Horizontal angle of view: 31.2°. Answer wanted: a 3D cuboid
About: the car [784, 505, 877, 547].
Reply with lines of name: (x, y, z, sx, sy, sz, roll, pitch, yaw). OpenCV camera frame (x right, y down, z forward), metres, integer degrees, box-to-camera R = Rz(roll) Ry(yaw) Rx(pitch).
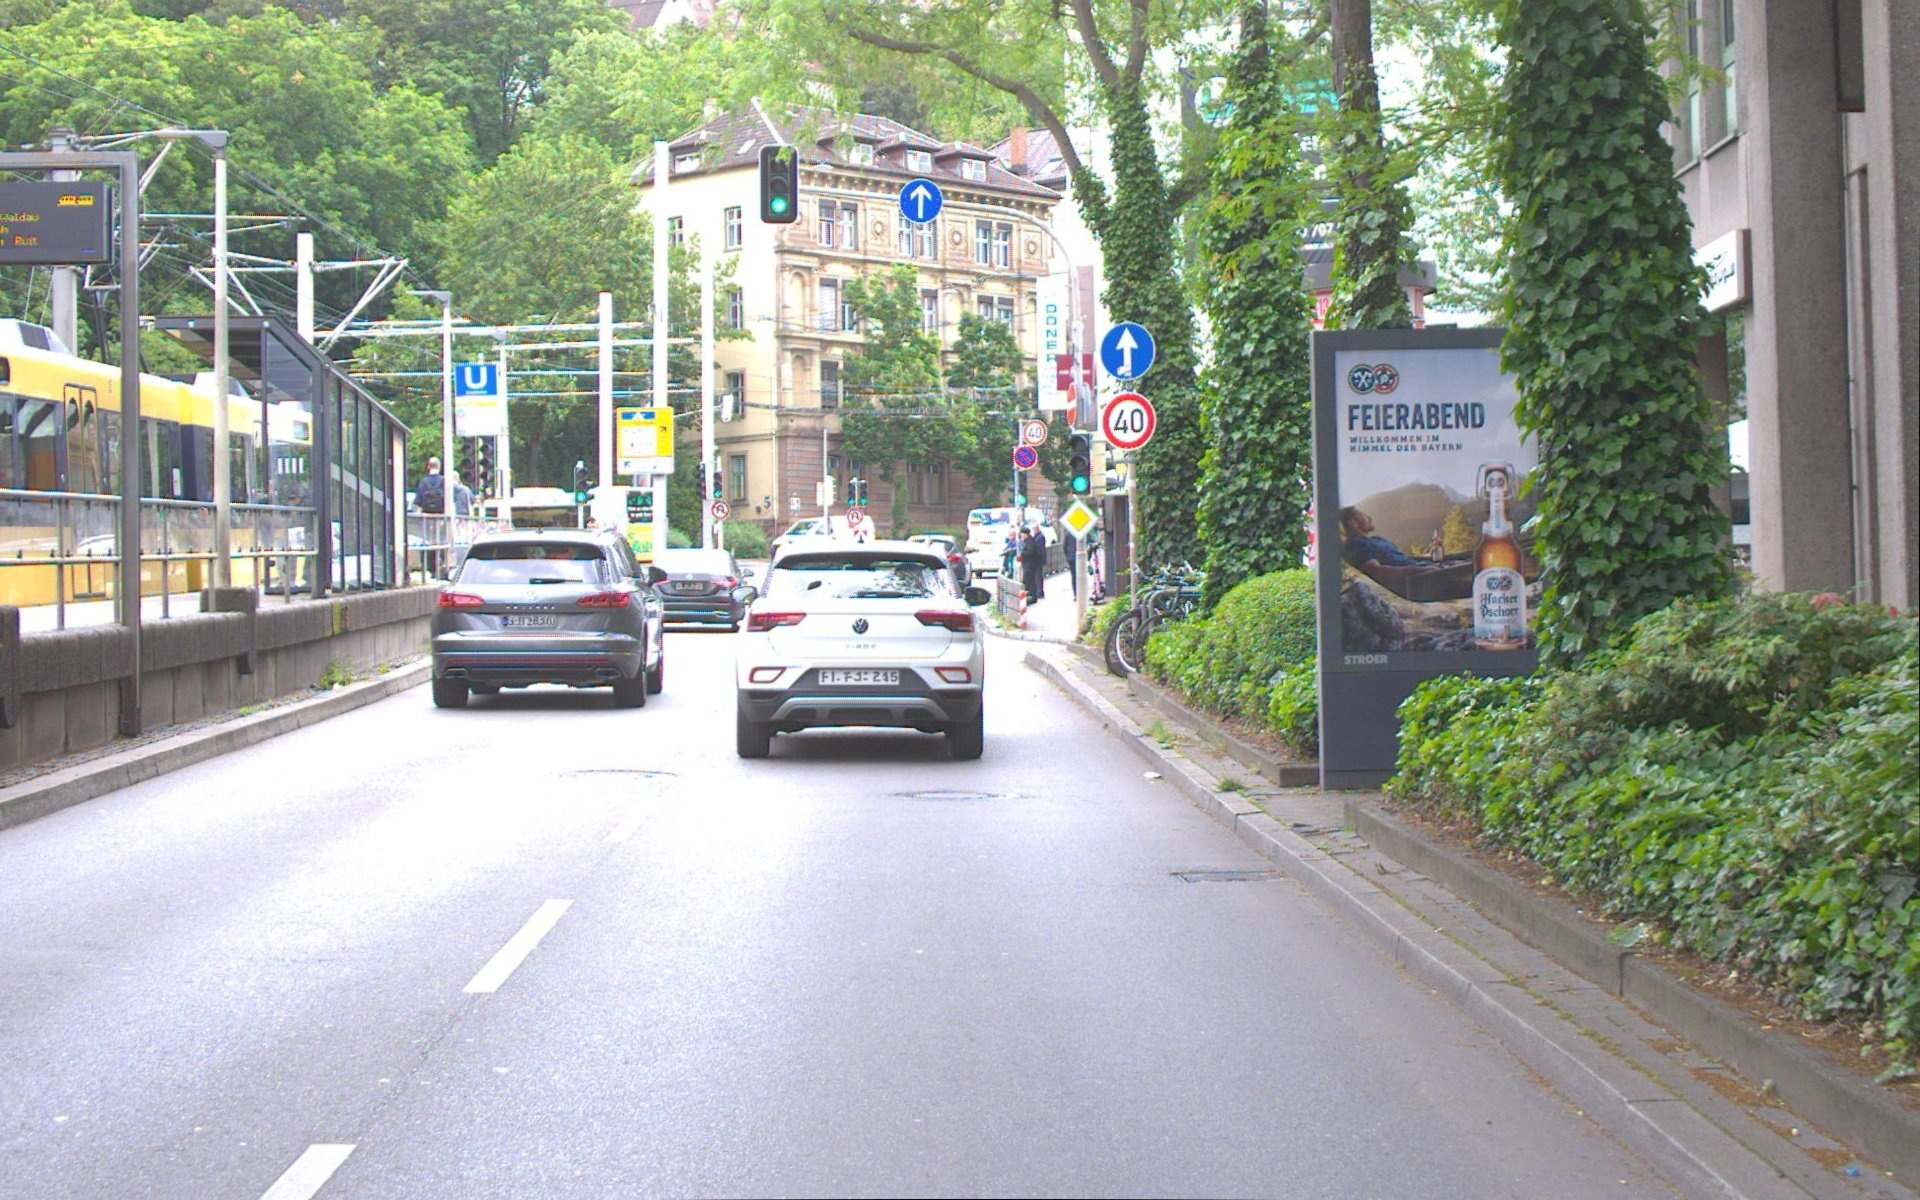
car: (-5.388, -3.076, 143.704, 1.915, 1.683, 3.992, 2, 1, 33)

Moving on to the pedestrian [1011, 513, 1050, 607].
pedestrian: (1.521, -0.851, 74.289, 0.762, 2.007, 0.838, 0, -1, 5)

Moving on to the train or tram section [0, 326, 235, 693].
train or tram section: (-10.019, -0.931, 37.718, 2.813, 3.654, 6.751, 1, 0, -1)

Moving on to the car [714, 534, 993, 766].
car: (-0.717, 0.329, 25.839, 1.837, 1.578, 4.157, 1, 0, 2)

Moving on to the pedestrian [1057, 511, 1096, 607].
pedestrian: (2.453, -0.865, 72.523, 0.762, 2.007, 0.838, 0, -1, 5)

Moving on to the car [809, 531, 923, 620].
car: (-1.904, -0.465, 68.593, 1.884, 1.678, 4.162, 1, -1, -7)

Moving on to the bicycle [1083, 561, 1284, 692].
bicycle: (2.206, 0.257, 33.833, 1.882, 1.262, 0.764, 0, -1, 11)

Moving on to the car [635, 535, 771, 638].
car: (-4.385, -0.264, 59.262, 1.912, 1.683, 4.000, 1, 1, 2)

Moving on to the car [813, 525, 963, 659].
car: (-0.940, -0.075, 45.701, 1.885, 1.678, 4.161, 1, -1, -1)

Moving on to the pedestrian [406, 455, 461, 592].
pedestrian: (-7.851, -1.136, 51.269, 0.762, 2.007, 0.838, 1, -1, -7)

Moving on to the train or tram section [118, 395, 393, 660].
train or tram section: (-10.362, -1.024, 51.234, 2.813, 3.654, 6.751, 1, 0, -1)

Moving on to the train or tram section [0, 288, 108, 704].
train or tram section: (-9.862, -0.929, 30.966, 2.813, 3.654, 6.751, 1, 0, -1)

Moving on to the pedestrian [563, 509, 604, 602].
pedestrian: (-8.216, -0.975, 75.064, 0.762, 2.007, 0.838, 1, -1, 0)

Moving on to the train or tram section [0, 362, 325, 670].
train or tram section: (-10.196, -1.020, 44.463, 2.813, 3.654, 6.751, 1, 0, -1)

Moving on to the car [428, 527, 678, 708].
car: (-3.835, 0.128, 33.017, 1.993, 1.630, 4.000, 0, 1, -1)

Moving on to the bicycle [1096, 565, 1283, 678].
bicycle: (2.368, 0.220, 35.325, 1.881, 1.133, 0.808, 0, -1, 6)

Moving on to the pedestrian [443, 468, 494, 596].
pedestrian: (-7.884, -1.083, 55.172, 0.762, 2.007, 0.838, 1, -1, -7)

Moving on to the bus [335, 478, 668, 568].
bus: (-17.127, -2.797, 127.557, 13.306, 3.054, 3.376, 0, -1, 34)

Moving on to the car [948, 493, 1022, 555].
car: (0.921, -2.703, 122.835, 2.365, 2.007, 5.147, 1, -1, 3)

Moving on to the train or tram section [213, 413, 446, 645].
train or tram section: (-10.524, -1.139, 58.005, 2.813, 3.654, 6.751, 1, 0, -1)

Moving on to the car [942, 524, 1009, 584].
car: (0.478, -1.364, 103.543, 1.885, 1.678, 4.161, 1, -1, 2)

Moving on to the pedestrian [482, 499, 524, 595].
pedestrian: (-9.734, -1.123, 73.235, 0.762, 2.007, 0.838, 1, -1, -1)
